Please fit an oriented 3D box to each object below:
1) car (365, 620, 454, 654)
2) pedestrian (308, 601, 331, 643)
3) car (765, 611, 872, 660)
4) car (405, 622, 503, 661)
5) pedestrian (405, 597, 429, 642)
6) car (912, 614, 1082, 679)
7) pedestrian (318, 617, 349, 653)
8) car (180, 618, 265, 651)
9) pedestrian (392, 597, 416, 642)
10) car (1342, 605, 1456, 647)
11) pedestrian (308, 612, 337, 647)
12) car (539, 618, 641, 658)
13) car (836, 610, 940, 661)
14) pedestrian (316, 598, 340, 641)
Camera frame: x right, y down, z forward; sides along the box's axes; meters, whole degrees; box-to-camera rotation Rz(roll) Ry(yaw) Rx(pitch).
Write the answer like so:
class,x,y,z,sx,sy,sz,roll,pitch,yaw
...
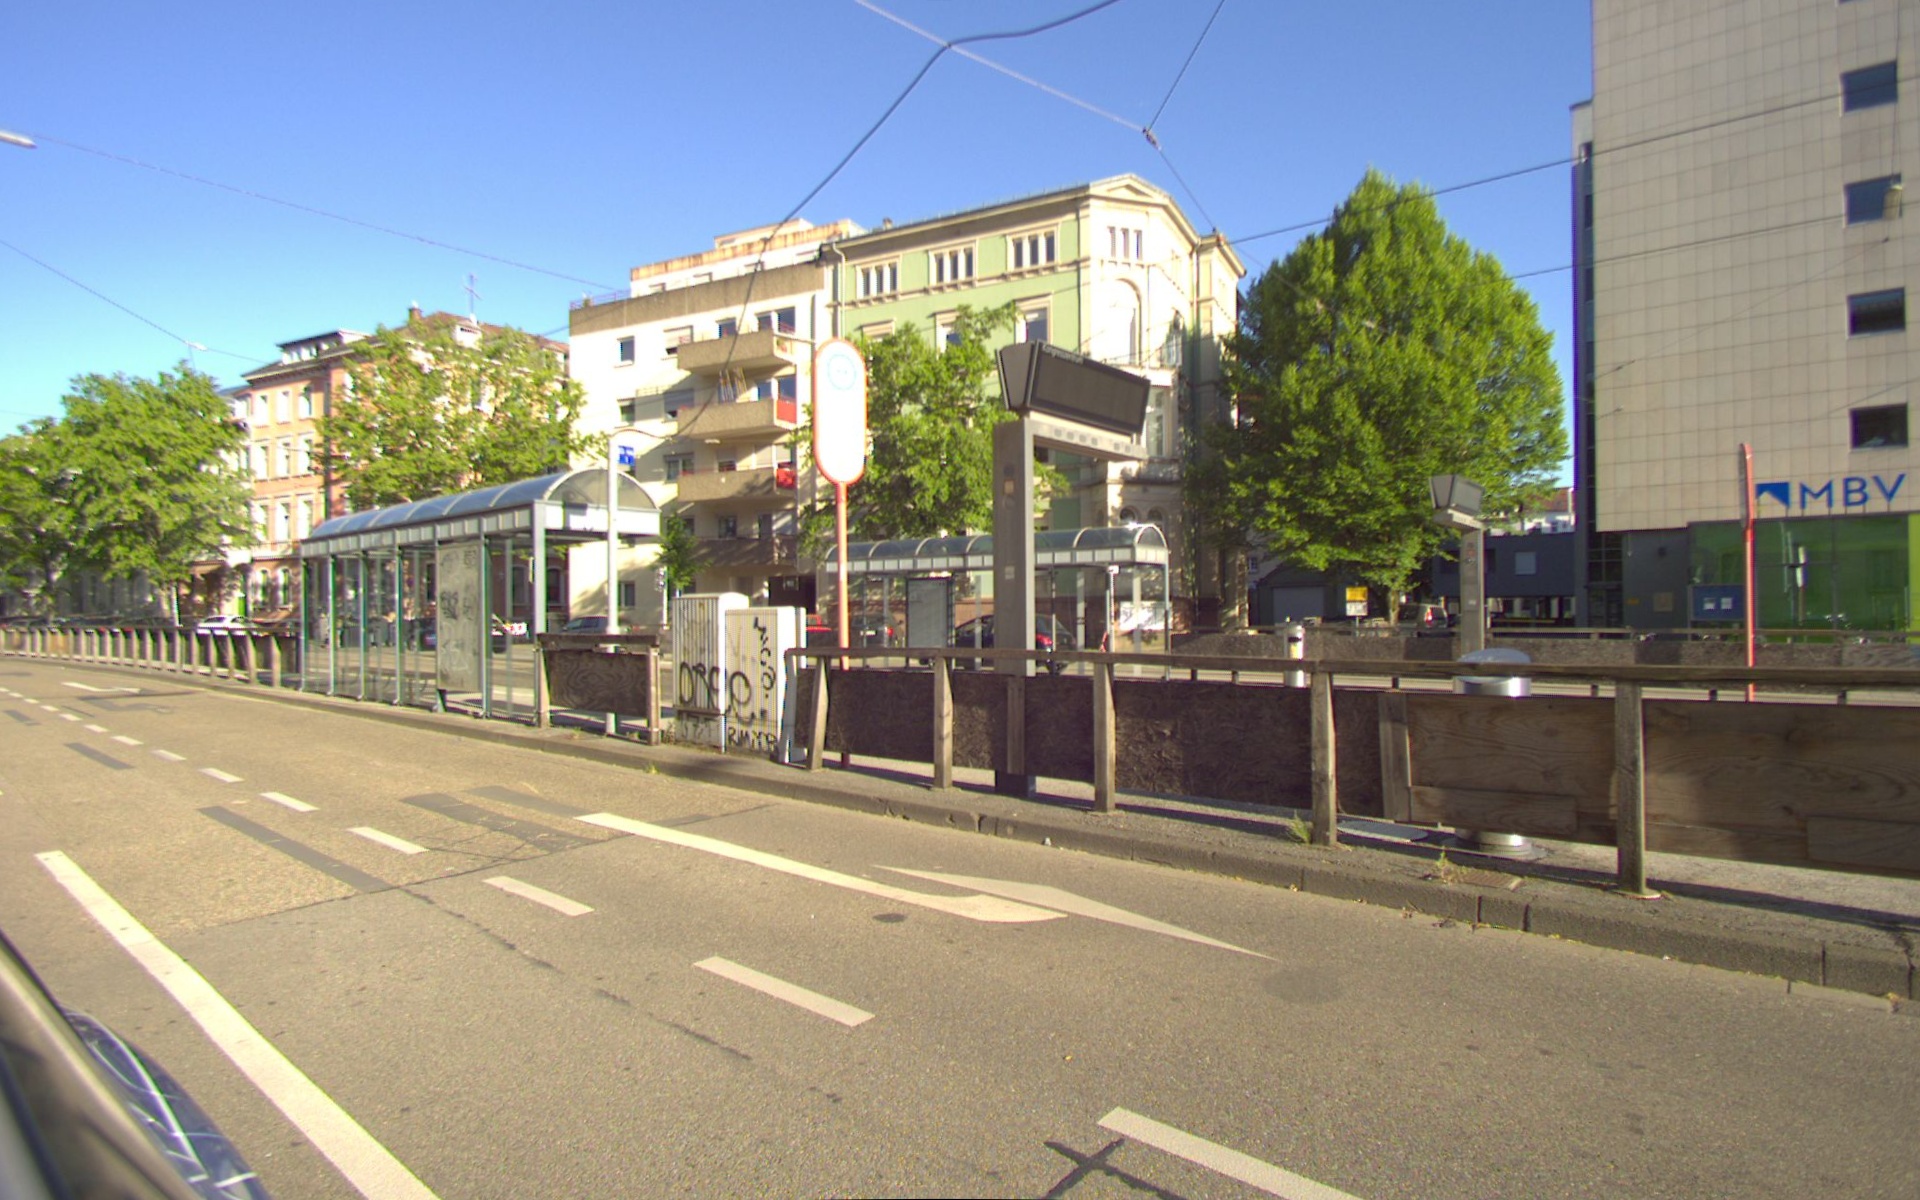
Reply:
class,x,y,z,sx,sy,sz,roll,pitch,yaw
car,-23.740,1.583,43.635,3.986,1.407,1.592,-1,-2,32
pedestrian,-34.121,1.173,53.946,0.755,2.224,0.803,-1,-2,36
car,-4.749,1.185,34.583,1.754,1.594,3.965,-1,-1,26
car,-18.996,1.535,37.945,3.870,1.419,1.650,-1,-2,35
pedestrian,-27.014,0.973,50.356,0.753,2.224,0.804,-1,-2,30
car,0.880,1.109,25.206,3.990,1.500,1.629,-1,-2,35
pedestrian,-28.754,1.591,46.449,0.879,1.641,0.869,0,-1,-1
car,-39.489,1.828,54.314,1.825,1.721,4.130,0,-1,-5
pedestrian,-27.902,0.969,50.796,0.753,2.224,0.804,-1,-2,30
car,15.775,0.894,36.469,1.544,1.423,3.430,-1,0,-38
pedestrian,-31.876,1.473,50.628,1.016,1.733,0.846,-1,-2,32
car,-14.110,1.422,38.536,3.725,1.438,1.637,-1,-1,29
car,-2.315,1.153,33.535,1.754,1.594,3.965,-1,-1,26
pedestrian,-33.097,1.037,52.973,0.753,2.224,0.804,-1,-2,30
